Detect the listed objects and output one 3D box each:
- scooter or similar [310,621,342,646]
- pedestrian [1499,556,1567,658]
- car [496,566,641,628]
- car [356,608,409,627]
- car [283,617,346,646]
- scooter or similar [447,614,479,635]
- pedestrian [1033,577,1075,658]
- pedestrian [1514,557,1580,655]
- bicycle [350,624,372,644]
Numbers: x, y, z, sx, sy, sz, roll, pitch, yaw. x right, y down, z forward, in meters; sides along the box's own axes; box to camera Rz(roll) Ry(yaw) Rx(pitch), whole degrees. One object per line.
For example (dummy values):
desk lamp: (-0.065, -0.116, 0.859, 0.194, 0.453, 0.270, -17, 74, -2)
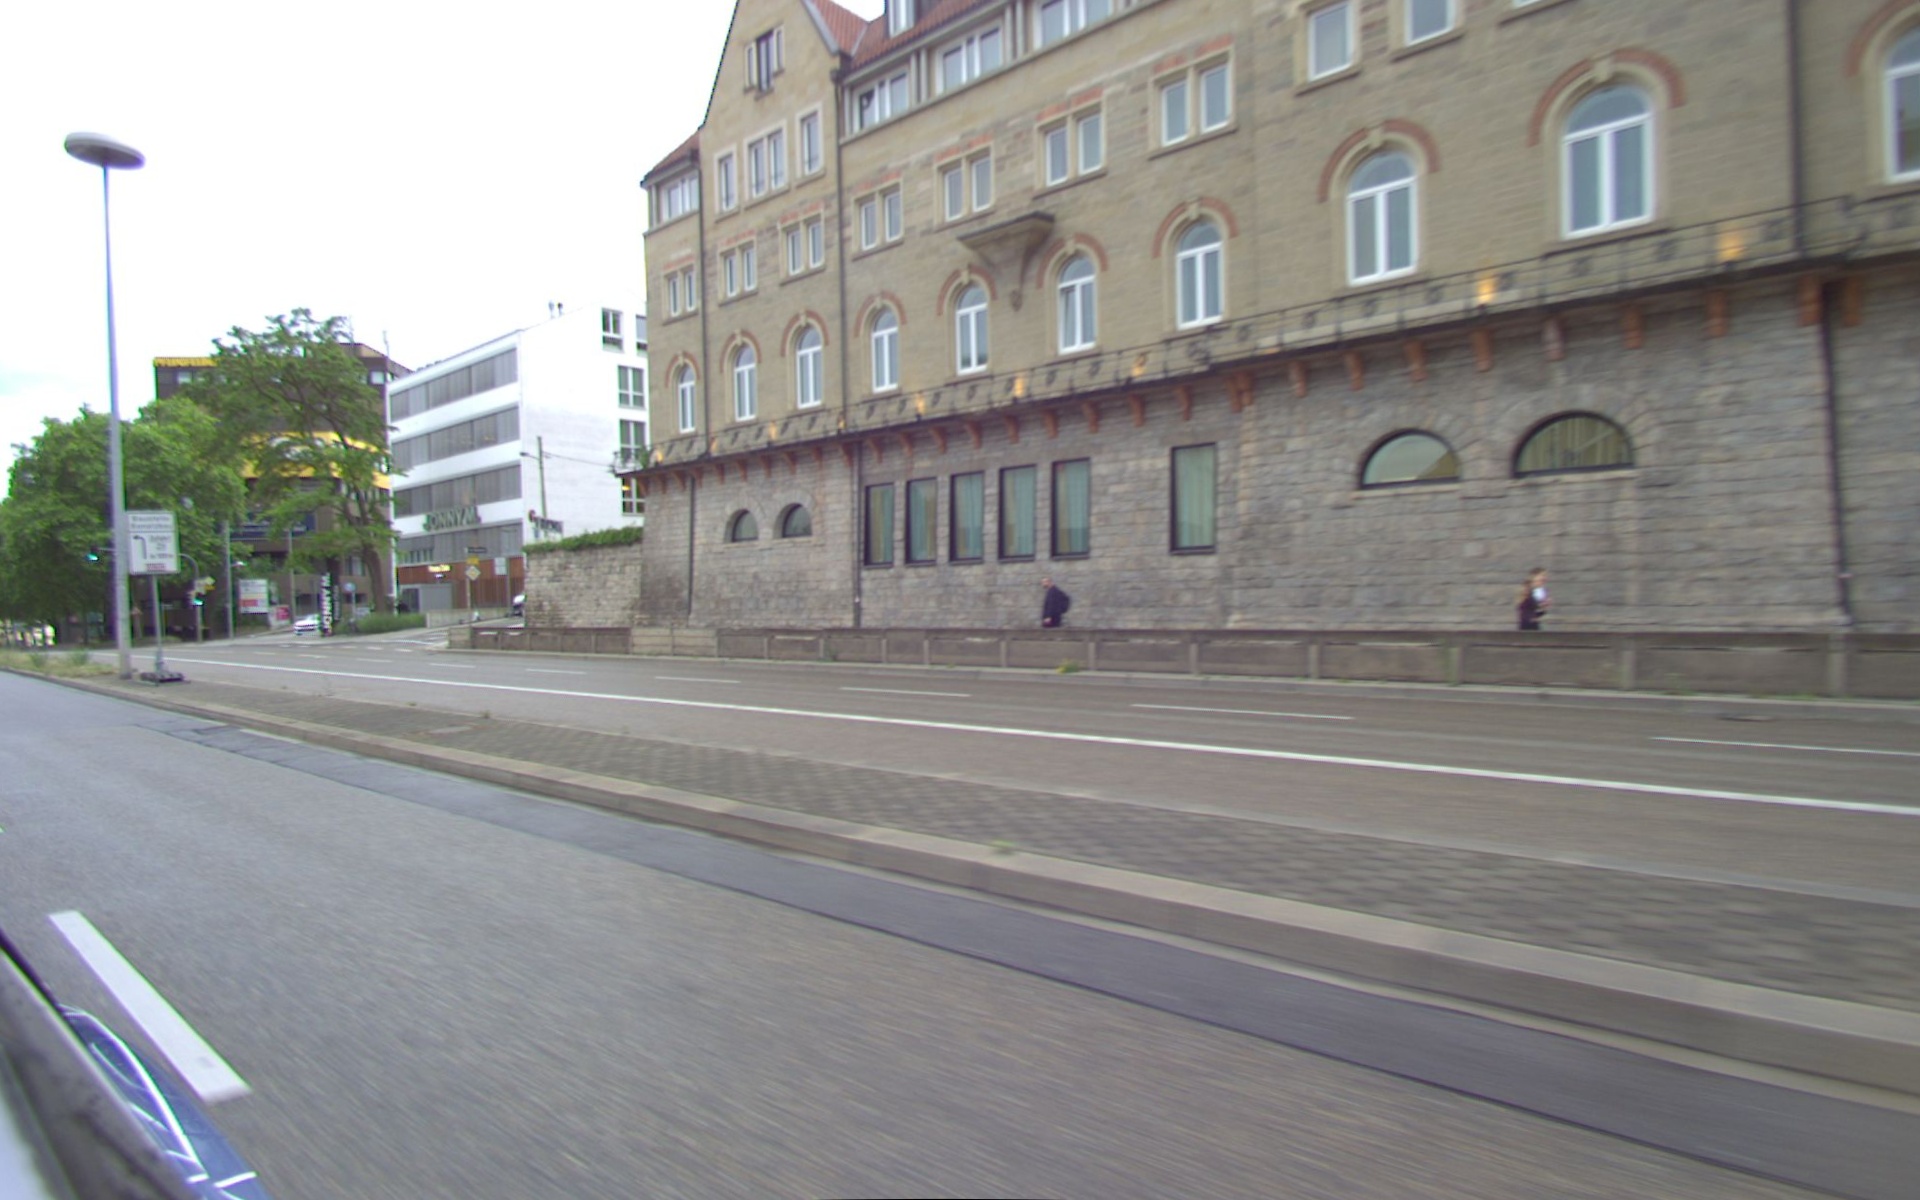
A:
scooter or similar: (-35.684, 1.866, 57.011, 0.366, 1.256, 1.750, -2, 2, 11)
pedestrian: (8.715, 0.110, 15.384, 0.713, 1.489, 0.746, -4, -3, 40)
car: (-21.360, -0.208, 55.510, 2.513, 2.291, 6.836, -7, 3, 41)
car: (-54.845, 1.649, 96.101, 3.938, 1.696, 1.823, -2, 0, -7)
car: (-44.557, 2.164, 70.003, 1.967, 1.666, 4.855, -3, 2, -11)
scooter or similar: (-26.774, 1.325, 54.517, 0.443, 0.928, 1.455, -4, 3, 38)
pedestrian: (2.073, 0.394, 22.420, 0.620, 1.759, 0.634, -4, -3, 38)
pedestrian: (9.251, 0.099, 15.946, 0.713, 1.489, 0.746, -4, -3, 40)
bicycle: (-32.288, 1.841, 54.537, 1.757, 0.999, 0.452, -3, -1, 41)
